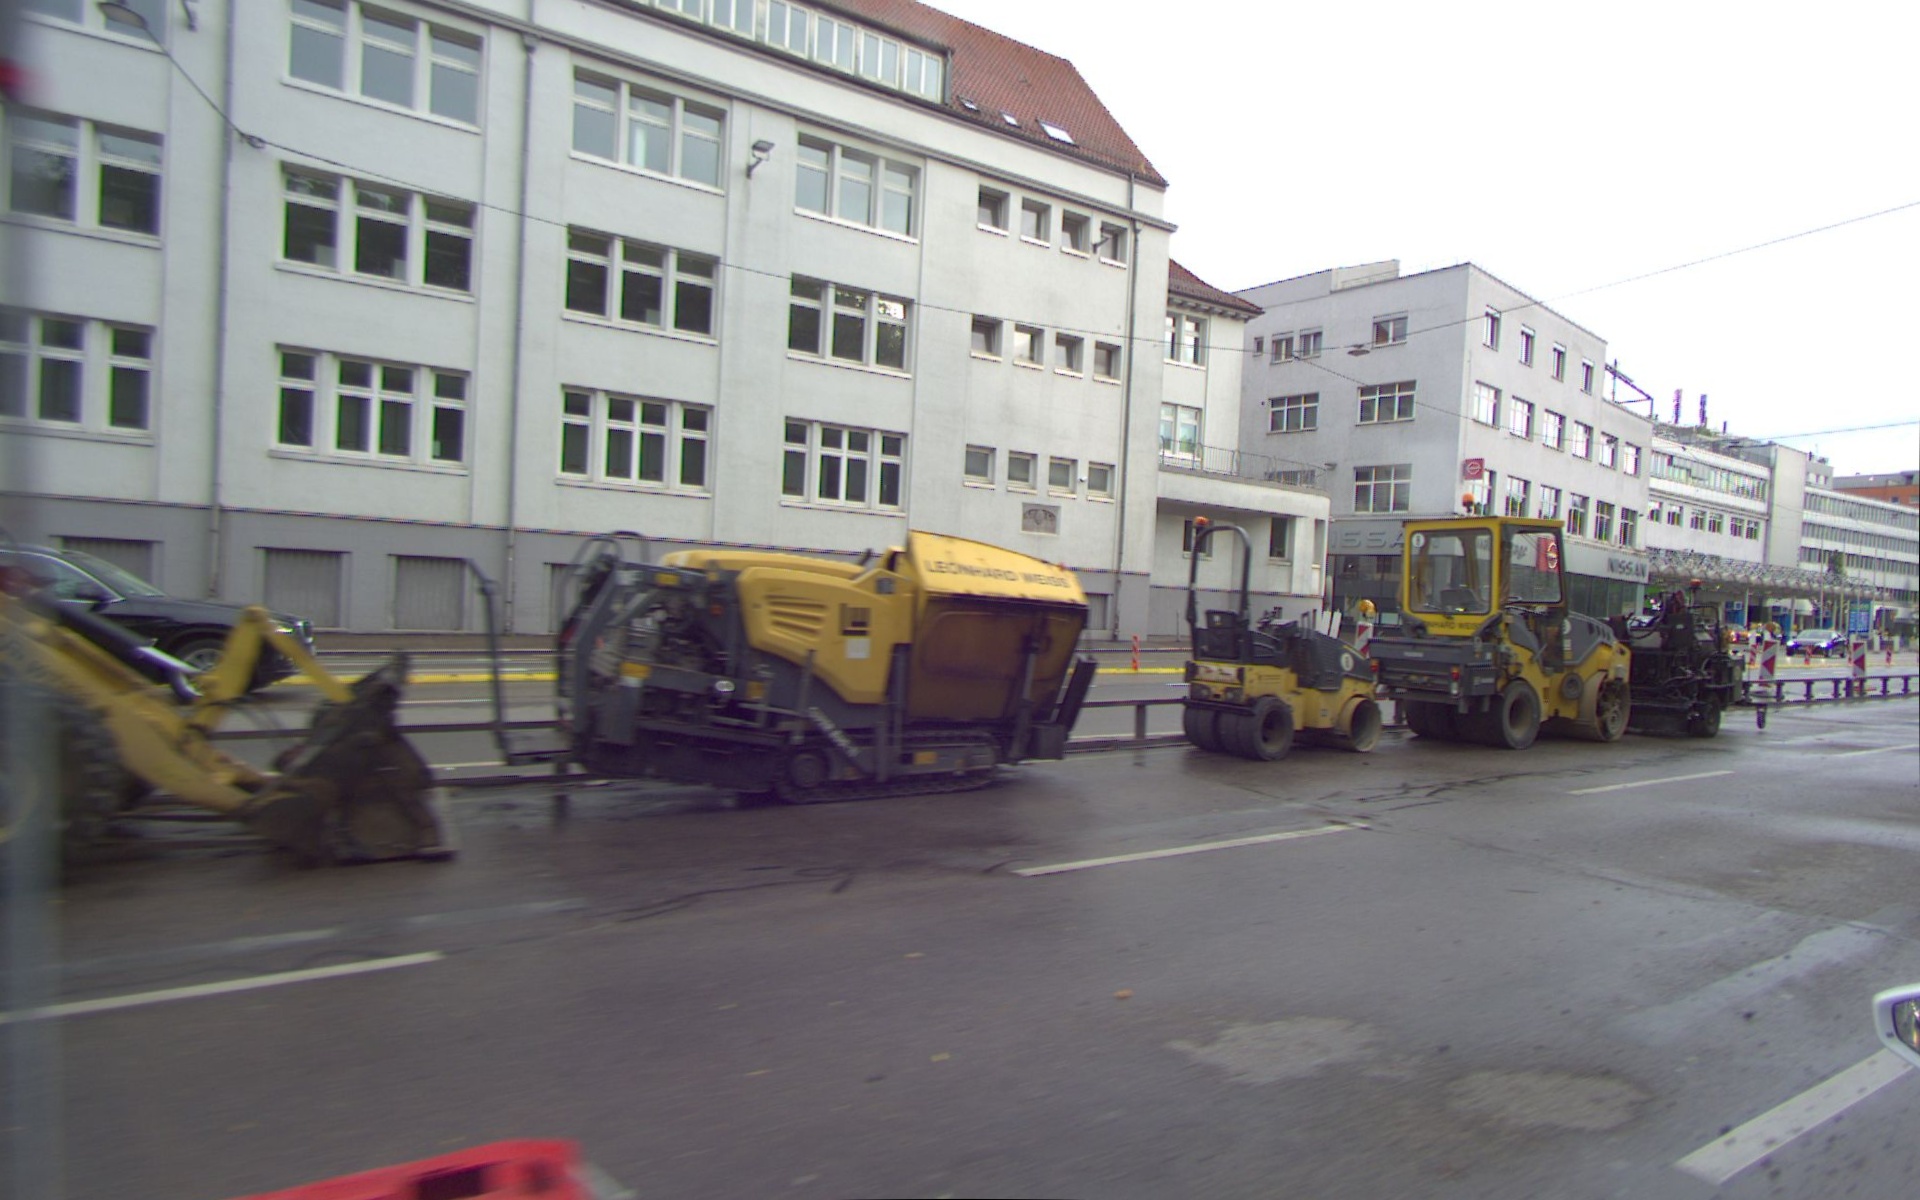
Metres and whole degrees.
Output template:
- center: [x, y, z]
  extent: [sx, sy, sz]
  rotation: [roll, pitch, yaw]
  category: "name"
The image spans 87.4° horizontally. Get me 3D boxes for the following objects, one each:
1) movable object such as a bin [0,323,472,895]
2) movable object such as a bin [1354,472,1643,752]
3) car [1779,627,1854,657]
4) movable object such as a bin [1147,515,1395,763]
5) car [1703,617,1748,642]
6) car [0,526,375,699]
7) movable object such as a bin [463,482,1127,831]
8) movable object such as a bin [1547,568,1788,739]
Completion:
- center: [-5.512, 0.008, 5.121]
  extent: [5.318, 2.644, 1.893]
  rotation: [1, 1, -29]
  category: "movable object such as a bin"
- center: [6.754, 0.170, 12.515]
  extent: [3.681, 3.048, 1.458]
  rotation: [1, -1, -31]
  category: "movable object such as a bin"
- center: [44.486, 2.184, 52.149]
  extent: [4.204, 1.424, 1.752]
  rotation: [2, 0, -32]
  category: "car"
- center: [3.449, 0.411, 11.116]
  extent: [2.379, 2.433, 1.403]
  rotation: [1, -1, -32]
  category: "movable object such as a bin"
- center: [60.915, 2.333, 79.982]
  extent: [1.771, 1.677, 3.998]
  rotation: [4, 2, 23]
  category: "car"
- center: [-9.606, 0.092, 11.225]
  extent: [4.901, 1.729, 1.993]
  rotation: [2, 2, -15]
  category: "car"
- center: [-1.097, 0.384, 7.902]
  extent: [4.969, 2.118, 1.356]
  rotation: [1, 1, -29]
  category: "movable object such as a bin"
- center: [10.201, 0.720, 14.446]
  extent: [3.313, 2.178, 1.706]
  rotation: [1, -1, -33]
  category: "movable object such as a bin"
